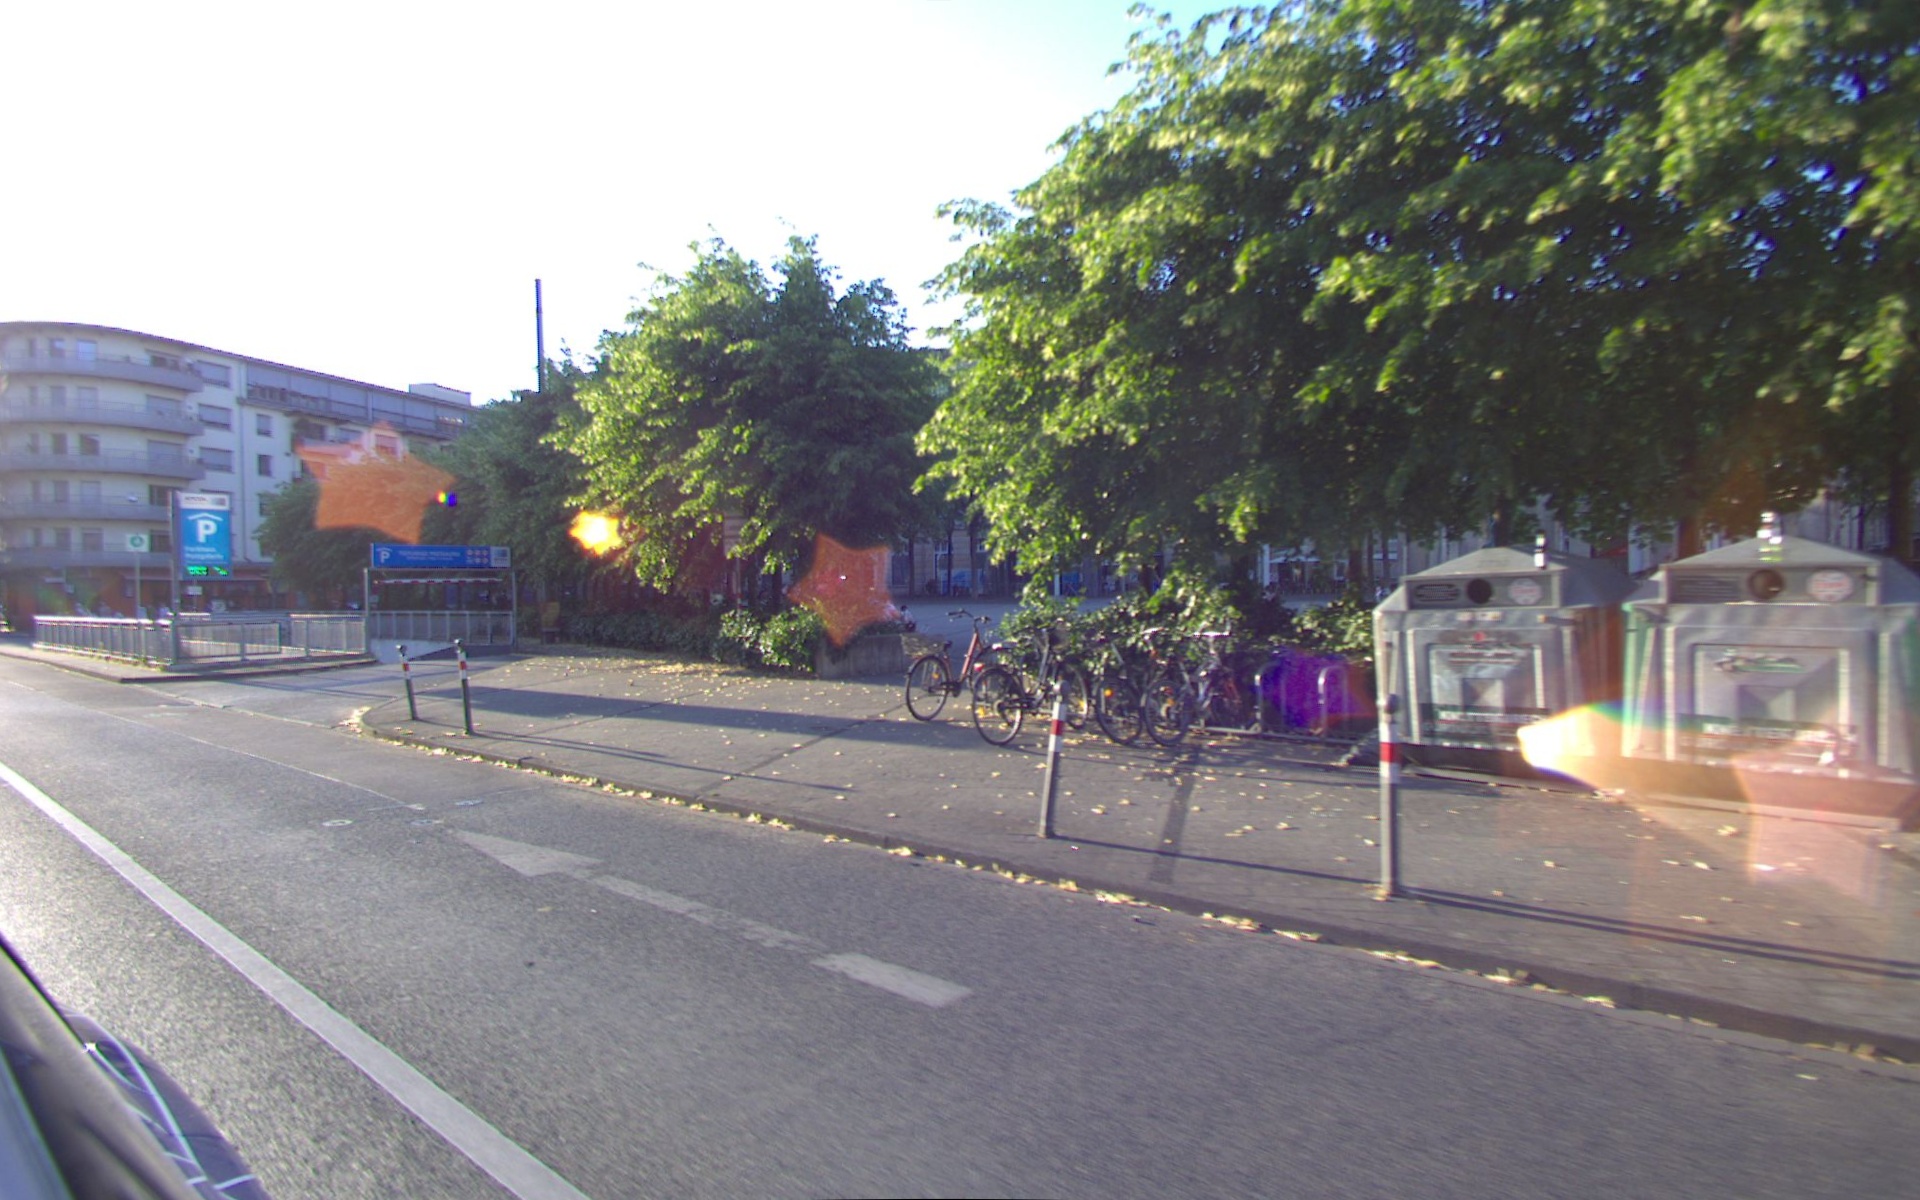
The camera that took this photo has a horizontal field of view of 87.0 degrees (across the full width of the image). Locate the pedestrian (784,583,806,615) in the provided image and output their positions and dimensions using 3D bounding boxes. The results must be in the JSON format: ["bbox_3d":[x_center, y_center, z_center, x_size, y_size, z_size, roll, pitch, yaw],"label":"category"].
[{"bbox_3d":[-8.781,-0.052,53.872,0.701,1.660,1.262,-1,0,13],"label":"pedestrian"}]

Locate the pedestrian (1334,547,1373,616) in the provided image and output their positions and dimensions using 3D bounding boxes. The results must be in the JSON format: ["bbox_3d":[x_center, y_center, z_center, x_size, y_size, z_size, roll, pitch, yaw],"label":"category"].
[{"bbox_3d":[11.407,-0.534,29.309,0.792,1.963,0.731,-2,0,-42],"label":"pedestrian"}]

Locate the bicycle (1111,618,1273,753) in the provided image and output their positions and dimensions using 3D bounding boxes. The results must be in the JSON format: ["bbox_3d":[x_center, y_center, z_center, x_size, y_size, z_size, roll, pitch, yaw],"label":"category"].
[{"bbox_3d":[2.208,0.733,9.420,0.635,0.978,2.023,-1,3,39],"label":"bicycle"}]

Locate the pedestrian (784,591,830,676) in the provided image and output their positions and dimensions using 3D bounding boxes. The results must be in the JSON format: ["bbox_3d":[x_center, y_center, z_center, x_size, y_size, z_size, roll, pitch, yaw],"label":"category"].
[{"bbox_3d":[-3.657,0.786,24.153,0.792,1.963,0.732,-2,0,-36],"label":"pedestrian"}]

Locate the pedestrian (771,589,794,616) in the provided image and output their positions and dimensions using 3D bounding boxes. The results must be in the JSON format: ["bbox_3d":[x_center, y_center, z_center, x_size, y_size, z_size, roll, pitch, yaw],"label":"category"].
[{"bbox_3d":[-9.486,0.141,54.090,0.730,1.390,1.262,-1,0,13],"label":"pedestrian"}]

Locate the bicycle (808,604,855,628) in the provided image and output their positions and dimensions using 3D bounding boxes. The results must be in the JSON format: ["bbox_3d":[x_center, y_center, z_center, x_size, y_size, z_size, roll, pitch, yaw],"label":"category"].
[{"bbox_3d":[-6.554,0.808,51.514,2.290,1.110,0.954,-1,0,-11],"label":"bicycle"}]

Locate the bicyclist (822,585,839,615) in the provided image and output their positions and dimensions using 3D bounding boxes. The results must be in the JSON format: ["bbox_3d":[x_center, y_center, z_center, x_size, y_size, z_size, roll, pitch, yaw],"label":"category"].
[{"bbox_3d":[-6.596,-0.007,51.523,0.741,1.521,1.384,-1,0,-9],"label":"bicyclist"}]

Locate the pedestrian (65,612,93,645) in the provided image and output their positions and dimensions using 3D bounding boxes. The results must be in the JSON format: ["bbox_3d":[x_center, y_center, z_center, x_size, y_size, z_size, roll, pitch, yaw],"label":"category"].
[{"bbox_3d":[-50.009,1.603,57.456,0.845,1.807,0.864,-3,-1,19],"label":"pedestrian"}]

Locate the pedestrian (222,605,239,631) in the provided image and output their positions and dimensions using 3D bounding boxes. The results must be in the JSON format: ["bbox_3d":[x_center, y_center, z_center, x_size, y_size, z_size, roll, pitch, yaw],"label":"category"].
[{"bbox_3d":[-50.217,1.252,69.655,0.712,1.733,0.665,-2,0,15],"label":"pedestrian"}]

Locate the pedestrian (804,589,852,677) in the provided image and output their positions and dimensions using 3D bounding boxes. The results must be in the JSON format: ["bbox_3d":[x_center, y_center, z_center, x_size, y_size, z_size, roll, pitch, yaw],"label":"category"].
[{"bbox_3d":[-3.026,0.743,23.225,0.792,1.963,0.732,-2,0,-36],"label":"pedestrian"}]

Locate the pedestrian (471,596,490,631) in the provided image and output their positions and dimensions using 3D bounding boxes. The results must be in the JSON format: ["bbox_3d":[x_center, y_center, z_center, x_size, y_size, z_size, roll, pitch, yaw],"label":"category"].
[{"bbox_3d":[-24.978,0.706,52.709,0.676,1.759,0.718,-2,-1,-12],"label":"pedestrian"}]

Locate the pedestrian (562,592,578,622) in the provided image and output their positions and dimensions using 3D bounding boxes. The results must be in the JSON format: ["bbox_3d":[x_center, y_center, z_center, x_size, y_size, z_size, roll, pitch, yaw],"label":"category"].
[{"bbox_3d":[-20.171,0.362,52.393,0.668,1.554,0.594,-2,-1,-17],"label":"pedestrian"}]

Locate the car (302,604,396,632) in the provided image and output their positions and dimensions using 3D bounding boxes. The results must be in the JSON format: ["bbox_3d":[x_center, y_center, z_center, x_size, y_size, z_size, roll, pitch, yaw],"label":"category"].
[{"bbox_3d":[-35.434,1.028,58.742,4.402,1.441,2.100,-3,-1,11],"label":"car"}]

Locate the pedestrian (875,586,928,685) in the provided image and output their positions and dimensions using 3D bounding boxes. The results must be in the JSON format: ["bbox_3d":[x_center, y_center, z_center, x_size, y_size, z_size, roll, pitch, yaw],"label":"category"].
[{"bbox_3d":[-1.208,0.709,20.844,0.792,1.963,0.732,-2,0,-36],"label":"pedestrian"}]

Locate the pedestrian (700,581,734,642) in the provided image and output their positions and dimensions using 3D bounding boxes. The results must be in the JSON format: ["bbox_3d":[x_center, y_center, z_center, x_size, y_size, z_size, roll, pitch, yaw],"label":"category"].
[{"bbox_3d":[-8.340,0.397,34.687,0.899,2.029,0.922,-2,1,-26],"label":"pedestrian"}]

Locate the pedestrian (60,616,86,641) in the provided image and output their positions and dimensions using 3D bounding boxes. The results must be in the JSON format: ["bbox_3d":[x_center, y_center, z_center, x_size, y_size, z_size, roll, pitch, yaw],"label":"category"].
[{"bbox_3d":[-50.914,1.621,58.075,0.758,1.392,0.841,-1,1,-9],"label":"pedestrian"}]

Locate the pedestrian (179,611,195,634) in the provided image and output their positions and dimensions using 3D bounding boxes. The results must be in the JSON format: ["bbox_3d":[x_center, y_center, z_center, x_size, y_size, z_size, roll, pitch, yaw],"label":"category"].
[{"bbox_3d":[-49.567,1.429,64.897,0.661,1.445,0.558,1,0,14],"label":"pedestrian"}]

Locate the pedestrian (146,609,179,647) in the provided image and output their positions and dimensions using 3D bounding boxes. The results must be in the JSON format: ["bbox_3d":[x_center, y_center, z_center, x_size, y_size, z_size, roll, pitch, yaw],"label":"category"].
[{"bbox_3d":[-39.301,1.363,49.893,0.968,1.807,0.893,-2,-1,-19],"label":"pedestrian"}]

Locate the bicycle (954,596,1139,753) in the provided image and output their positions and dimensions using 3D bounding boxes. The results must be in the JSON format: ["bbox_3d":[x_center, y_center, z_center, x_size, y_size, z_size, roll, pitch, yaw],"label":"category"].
[{"bbox_3d":[0.915,0.645,9.860,0.517,1.246,2.408,-1,2,39],"label":"bicycle"}]

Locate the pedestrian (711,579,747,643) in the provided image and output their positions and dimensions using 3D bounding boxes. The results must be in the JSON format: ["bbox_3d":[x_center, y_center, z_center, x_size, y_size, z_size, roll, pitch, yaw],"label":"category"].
[{"bbox_3d":[-7.486,0.349,32.815,0.899,2.029,0.922,-2,1,-26],"label":"pedestrian"}]

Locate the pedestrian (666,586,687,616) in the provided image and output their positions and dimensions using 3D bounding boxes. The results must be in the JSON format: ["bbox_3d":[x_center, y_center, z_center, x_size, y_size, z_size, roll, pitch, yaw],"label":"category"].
[{"bbox_3d":[-19.474,0.083,69.543,0.827,2.029,1.059,-2,0,20],"label":"pedestrian"}]

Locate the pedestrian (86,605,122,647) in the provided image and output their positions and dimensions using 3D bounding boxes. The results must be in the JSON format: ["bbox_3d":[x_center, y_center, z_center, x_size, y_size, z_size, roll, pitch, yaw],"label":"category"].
[{"bbox_3d":[-40.439,1.232,47.818,0.977,1.898,0.884,-3,-1,19],"label":"pedestrian"}]

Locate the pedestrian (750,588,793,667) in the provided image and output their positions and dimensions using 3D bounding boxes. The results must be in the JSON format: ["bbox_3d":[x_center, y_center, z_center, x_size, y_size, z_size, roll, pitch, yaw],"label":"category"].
[{"bbox_3d":[-4.812,0.696,25.842,0.792,1.963,0.732,-2,0,-36],"label":"pedestrian"}]

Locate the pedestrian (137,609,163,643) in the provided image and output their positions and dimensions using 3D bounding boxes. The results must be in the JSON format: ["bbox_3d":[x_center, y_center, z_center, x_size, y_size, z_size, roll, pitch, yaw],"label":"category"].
[{"bbox_3d":[-46.009,1.470,57.488,0.707,1.891,0.849,-3,-1,13],"label":"pedestrian"}]

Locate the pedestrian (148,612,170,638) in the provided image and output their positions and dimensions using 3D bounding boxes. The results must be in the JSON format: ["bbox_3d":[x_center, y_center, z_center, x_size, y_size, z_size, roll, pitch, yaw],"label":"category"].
[{"bbox_3d":[-49.556,1.523,62.579,0.707,1.547,0.756,2,0,13],"label":"pedestrian"}]

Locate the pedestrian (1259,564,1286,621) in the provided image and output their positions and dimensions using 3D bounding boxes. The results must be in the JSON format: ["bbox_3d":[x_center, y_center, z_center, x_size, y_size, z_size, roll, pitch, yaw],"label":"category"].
[{"bbox_3d":[9.018,-0.227,29.243,0.519,1.622,0.804,-2,1,2],"label":"pedestrian"}]

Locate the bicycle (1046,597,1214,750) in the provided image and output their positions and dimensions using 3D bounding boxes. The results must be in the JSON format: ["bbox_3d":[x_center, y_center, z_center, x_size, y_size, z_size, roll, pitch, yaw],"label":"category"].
[{"bbox_3d":[1.704,0.628,9.734,0.462,1.246,2.407,-1,1,39],"label":"bicycle"}]

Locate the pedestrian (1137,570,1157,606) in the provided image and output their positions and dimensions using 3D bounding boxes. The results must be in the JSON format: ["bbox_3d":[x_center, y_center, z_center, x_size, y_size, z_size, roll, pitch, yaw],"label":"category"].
[{"bbox_3d":[10.249,-0.676,55.477,0.729,1.963,0.795,-1,0,37],"label":"pedestrian"}]

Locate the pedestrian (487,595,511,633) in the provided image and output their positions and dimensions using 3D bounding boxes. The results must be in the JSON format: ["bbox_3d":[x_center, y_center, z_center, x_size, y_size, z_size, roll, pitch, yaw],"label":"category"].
[{"bbox_3d":[-23.699,0.721,52.031,0.712,1.889,0.772,-3,-1,33],"label":"pedestrian"}]

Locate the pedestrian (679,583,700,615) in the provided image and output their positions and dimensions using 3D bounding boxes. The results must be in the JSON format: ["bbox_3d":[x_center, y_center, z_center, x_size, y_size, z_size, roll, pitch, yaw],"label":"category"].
[{"bbox_3d":[-15.017,-0.070,56.157,0.696,1.740,0.916,-2,0,15],"label":"pedestrian"}]

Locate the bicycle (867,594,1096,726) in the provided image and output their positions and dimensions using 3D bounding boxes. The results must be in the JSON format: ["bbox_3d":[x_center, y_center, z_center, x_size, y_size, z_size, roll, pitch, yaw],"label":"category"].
[{"bbox_3d":[0.270,0.620,11.432,2.468,1.293,0.818,-2,1,-29],"label":"bicycle"}]

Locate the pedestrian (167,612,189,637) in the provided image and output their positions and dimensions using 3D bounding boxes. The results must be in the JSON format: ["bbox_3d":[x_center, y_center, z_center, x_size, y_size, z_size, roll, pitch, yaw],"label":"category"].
[{"bbox_3d":[-49.637,1.544,64.237,0.844,1.547,0.677,-2,-1,13],"label":"pedestrian"}]

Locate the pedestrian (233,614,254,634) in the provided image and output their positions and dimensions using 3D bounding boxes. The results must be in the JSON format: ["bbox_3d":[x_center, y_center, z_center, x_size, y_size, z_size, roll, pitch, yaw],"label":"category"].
[{"bbox_3d":[-48.068,1.622,67.895,0.840,1.287,0.715,-1,2,-5],"label":"pedestrian"}]

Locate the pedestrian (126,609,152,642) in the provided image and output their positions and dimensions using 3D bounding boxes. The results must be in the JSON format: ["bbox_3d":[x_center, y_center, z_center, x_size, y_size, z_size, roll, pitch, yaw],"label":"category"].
[{"bbox_3d":[-46.003,1.421,56.713,0.709,1.816,0.877,-3,-1,20],"label":"pedestrian"}]

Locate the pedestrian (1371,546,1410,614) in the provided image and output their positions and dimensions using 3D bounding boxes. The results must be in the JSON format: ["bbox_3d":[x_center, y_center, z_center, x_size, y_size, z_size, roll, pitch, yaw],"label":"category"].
[{"bbox_3d":[12.752,-0.576,29.965,0.794,1.963,0.730,-1,0,1],"label":"pedestrian"}]

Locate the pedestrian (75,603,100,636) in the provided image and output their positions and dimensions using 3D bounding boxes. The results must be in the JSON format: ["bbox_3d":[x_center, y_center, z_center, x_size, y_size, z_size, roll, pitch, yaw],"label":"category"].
[{"bbox_3d":[-49.168,1.085,57.053,0.806,1.807,0.732,-3,-1,19],"label":"pedestrian"}]

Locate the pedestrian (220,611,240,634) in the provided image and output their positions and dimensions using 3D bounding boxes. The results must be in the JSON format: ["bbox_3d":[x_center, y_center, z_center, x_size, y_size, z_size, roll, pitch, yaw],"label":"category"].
[{"bbox_3d":[-48.930,1.497,67.823,0.840,1.547,0.715,-2,-1,-5],"label":"pedestrian"}]

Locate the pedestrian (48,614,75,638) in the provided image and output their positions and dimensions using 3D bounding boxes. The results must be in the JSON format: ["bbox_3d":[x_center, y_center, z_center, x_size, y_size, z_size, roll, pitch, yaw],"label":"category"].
[{"bbox_3d":[-51.695,1.481,58.230,0.675,1.291,0.970,-1,2,-8],"label":"pedestrian"}]

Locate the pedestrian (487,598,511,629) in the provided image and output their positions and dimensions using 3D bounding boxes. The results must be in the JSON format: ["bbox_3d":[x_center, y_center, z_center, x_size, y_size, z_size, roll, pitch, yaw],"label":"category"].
[{"bbox_3d":[-27.225,0.788,59.747,0.696,1.833,1.117,-2,0,15],"label":"pedestrian"}]

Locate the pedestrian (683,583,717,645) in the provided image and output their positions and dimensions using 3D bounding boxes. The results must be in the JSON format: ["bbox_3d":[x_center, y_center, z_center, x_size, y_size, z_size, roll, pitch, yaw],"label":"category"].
[{"bbox_3d":[-8.869,0.466,34.502,0.899,2.029,0.922,-2,1,-26],"label":"pedestrian"}]

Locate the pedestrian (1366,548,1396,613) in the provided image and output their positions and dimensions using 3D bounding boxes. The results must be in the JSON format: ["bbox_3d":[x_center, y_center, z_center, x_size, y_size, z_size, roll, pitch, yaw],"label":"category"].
[{"bbox_3d":[13.103,-0.596,31.500,0.680,1.963,0.802,-1,0,11],"label":"pedestrian"}]
